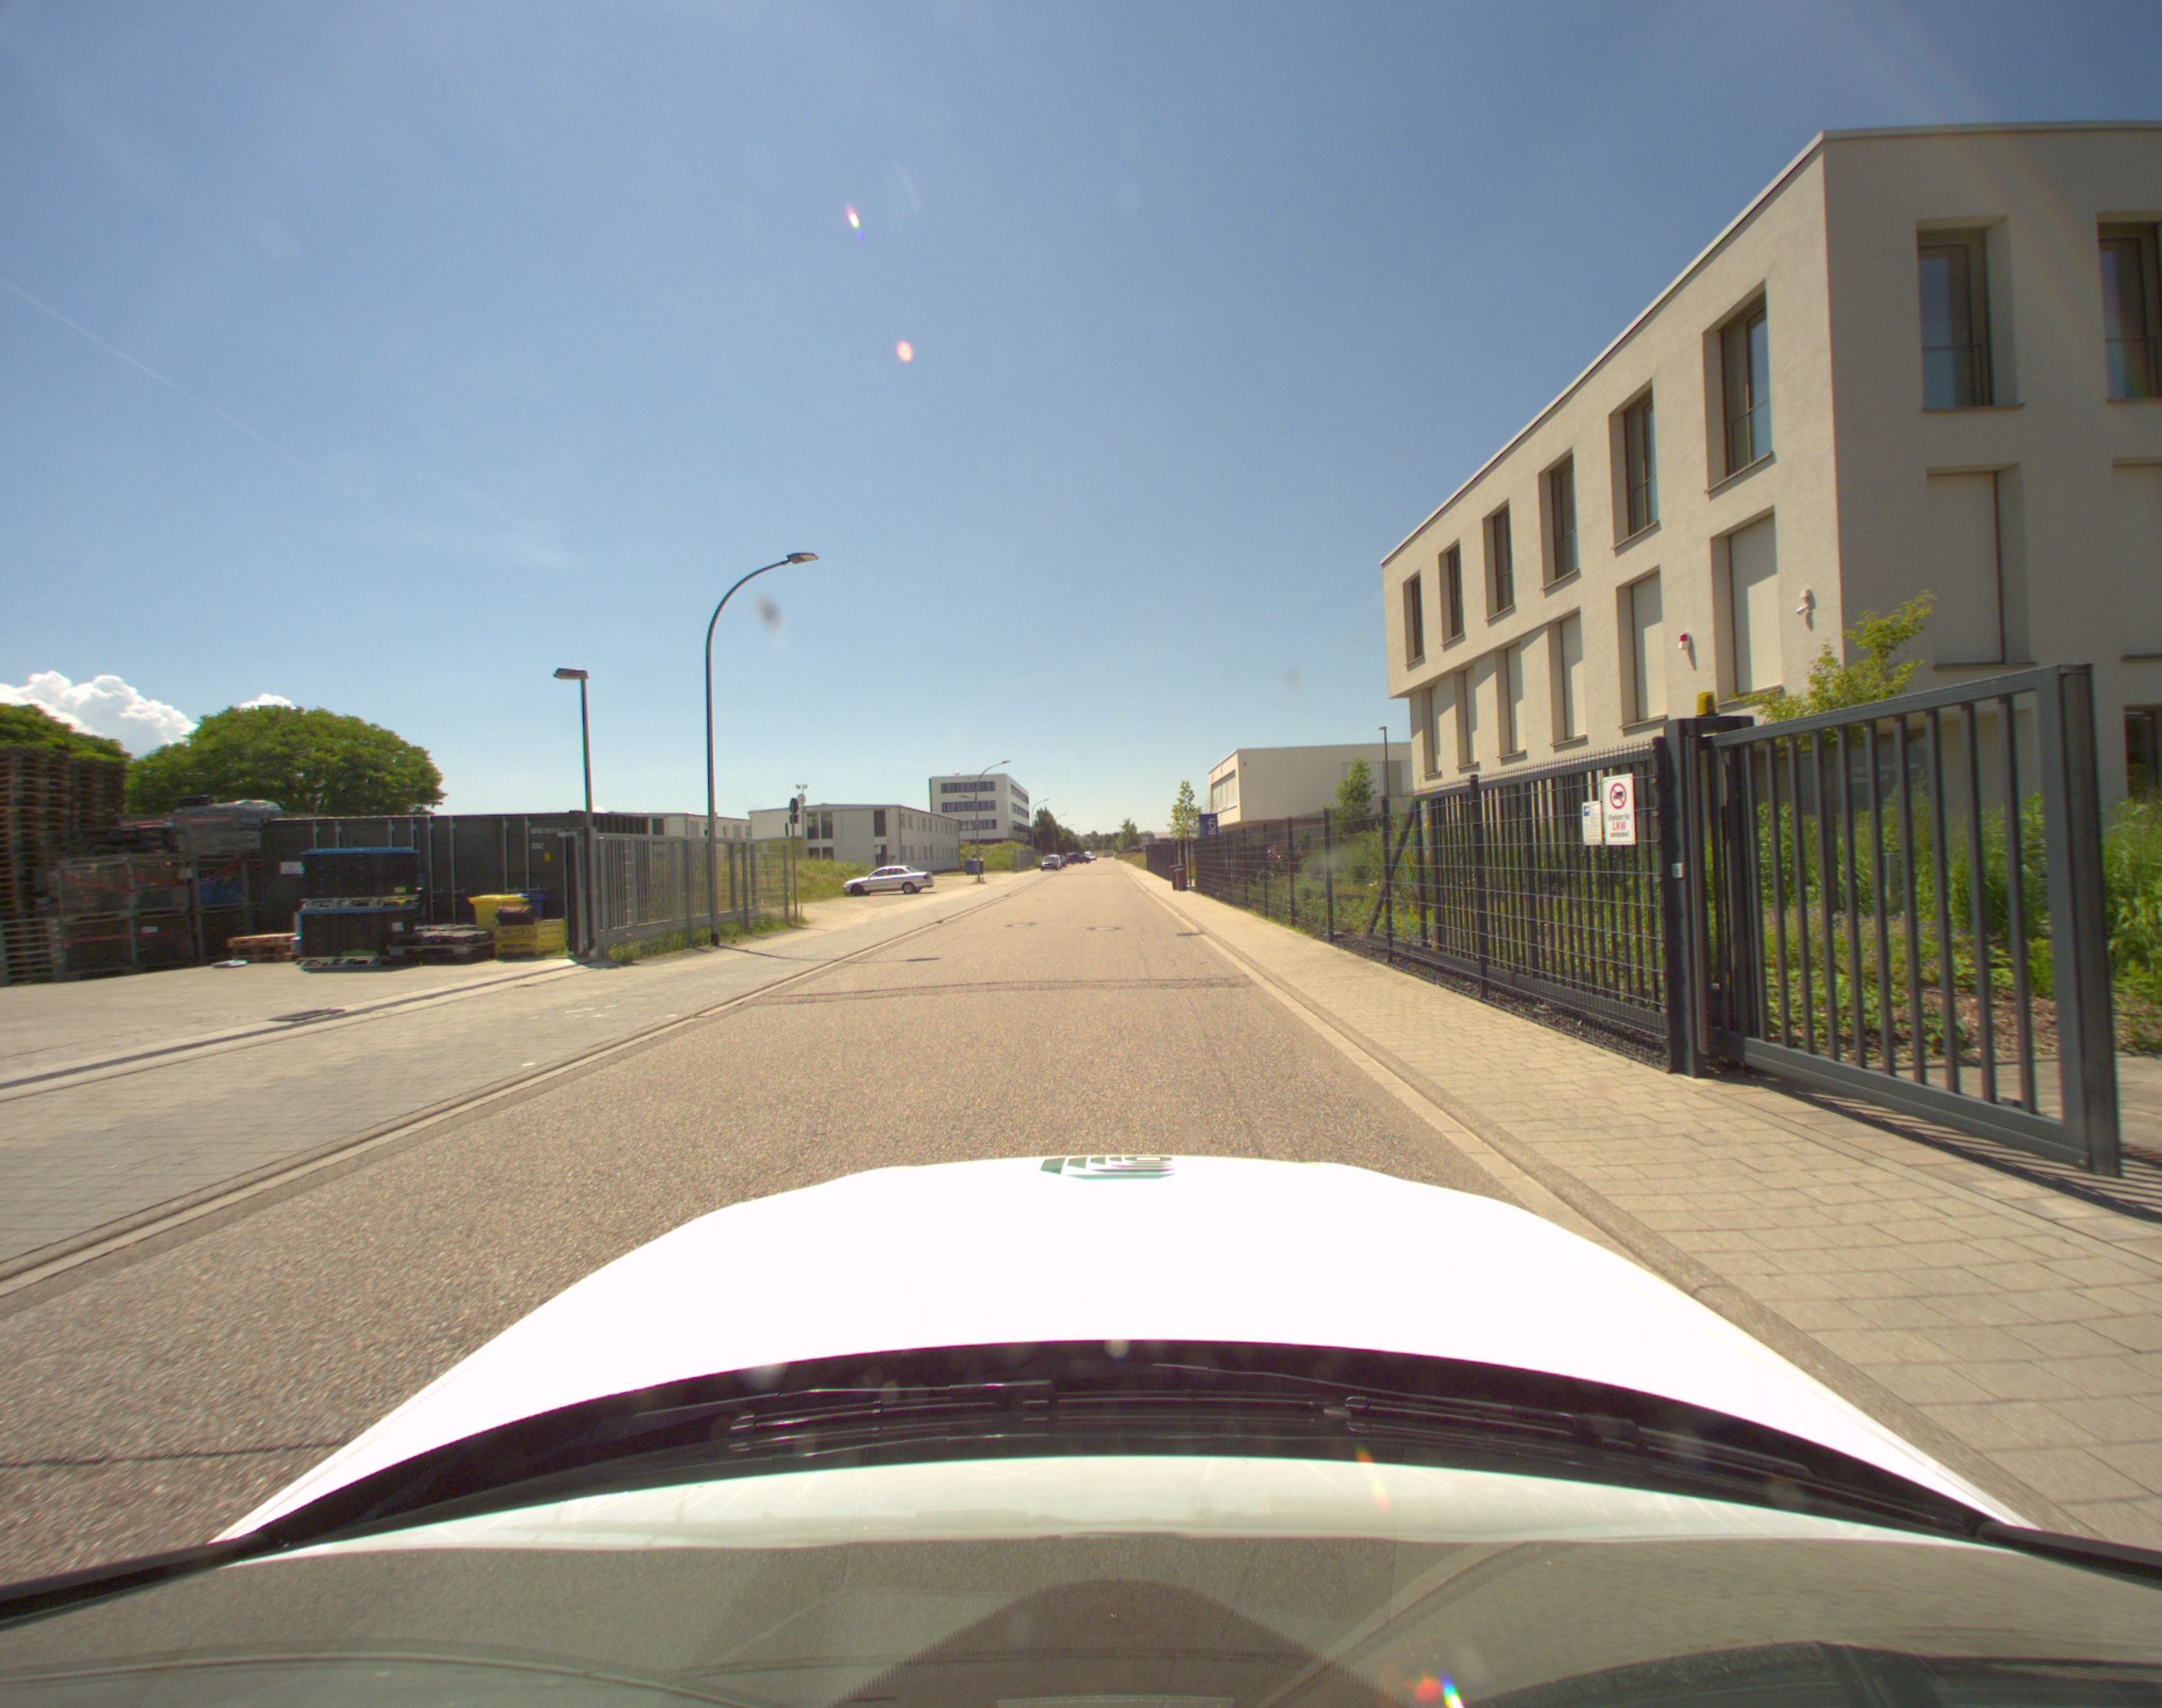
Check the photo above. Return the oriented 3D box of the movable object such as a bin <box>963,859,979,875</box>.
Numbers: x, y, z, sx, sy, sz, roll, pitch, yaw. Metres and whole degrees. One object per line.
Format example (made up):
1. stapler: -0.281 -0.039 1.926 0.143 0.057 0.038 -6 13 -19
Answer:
1. movable object such as a bin: -10.181 1.200 75.637 1.282 1.412 1.805 -2 0 -2

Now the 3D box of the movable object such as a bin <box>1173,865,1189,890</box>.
1. movable object such as a bin: 4.147 0.979 33.791 0.549 0.928 0.523 -7 1 6

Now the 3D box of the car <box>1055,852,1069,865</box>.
1. car: -2.274 0.529 97.857 1.461 1.489 3.209 -2 0 2

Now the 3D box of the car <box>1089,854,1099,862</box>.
1. car: 2.497 0.799 159.562 1.797 1.557 4.002 -3 0 2

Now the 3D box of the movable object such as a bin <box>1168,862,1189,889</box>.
1. movable object such as a bin: 4.150 0.913 34.775 0.775 1.019 0.666 -7 1 5

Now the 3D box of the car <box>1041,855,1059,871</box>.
1. car: -3.090 0.874 81.776 1.461 1.489 3.209 -2 0 2

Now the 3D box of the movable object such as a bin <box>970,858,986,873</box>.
1. movable object such as a bin: -9.995 1.071 79.227 1.282 1.412 1.805 -2 0 -2

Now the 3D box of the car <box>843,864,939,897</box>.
1. car: -9.438 1.310 40.634 4.262 1.364 1.898 -3 0 1

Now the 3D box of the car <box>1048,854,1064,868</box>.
1. car: -2.725 0.728 88.782 1.461 1.489 3.209 -2 0 2
